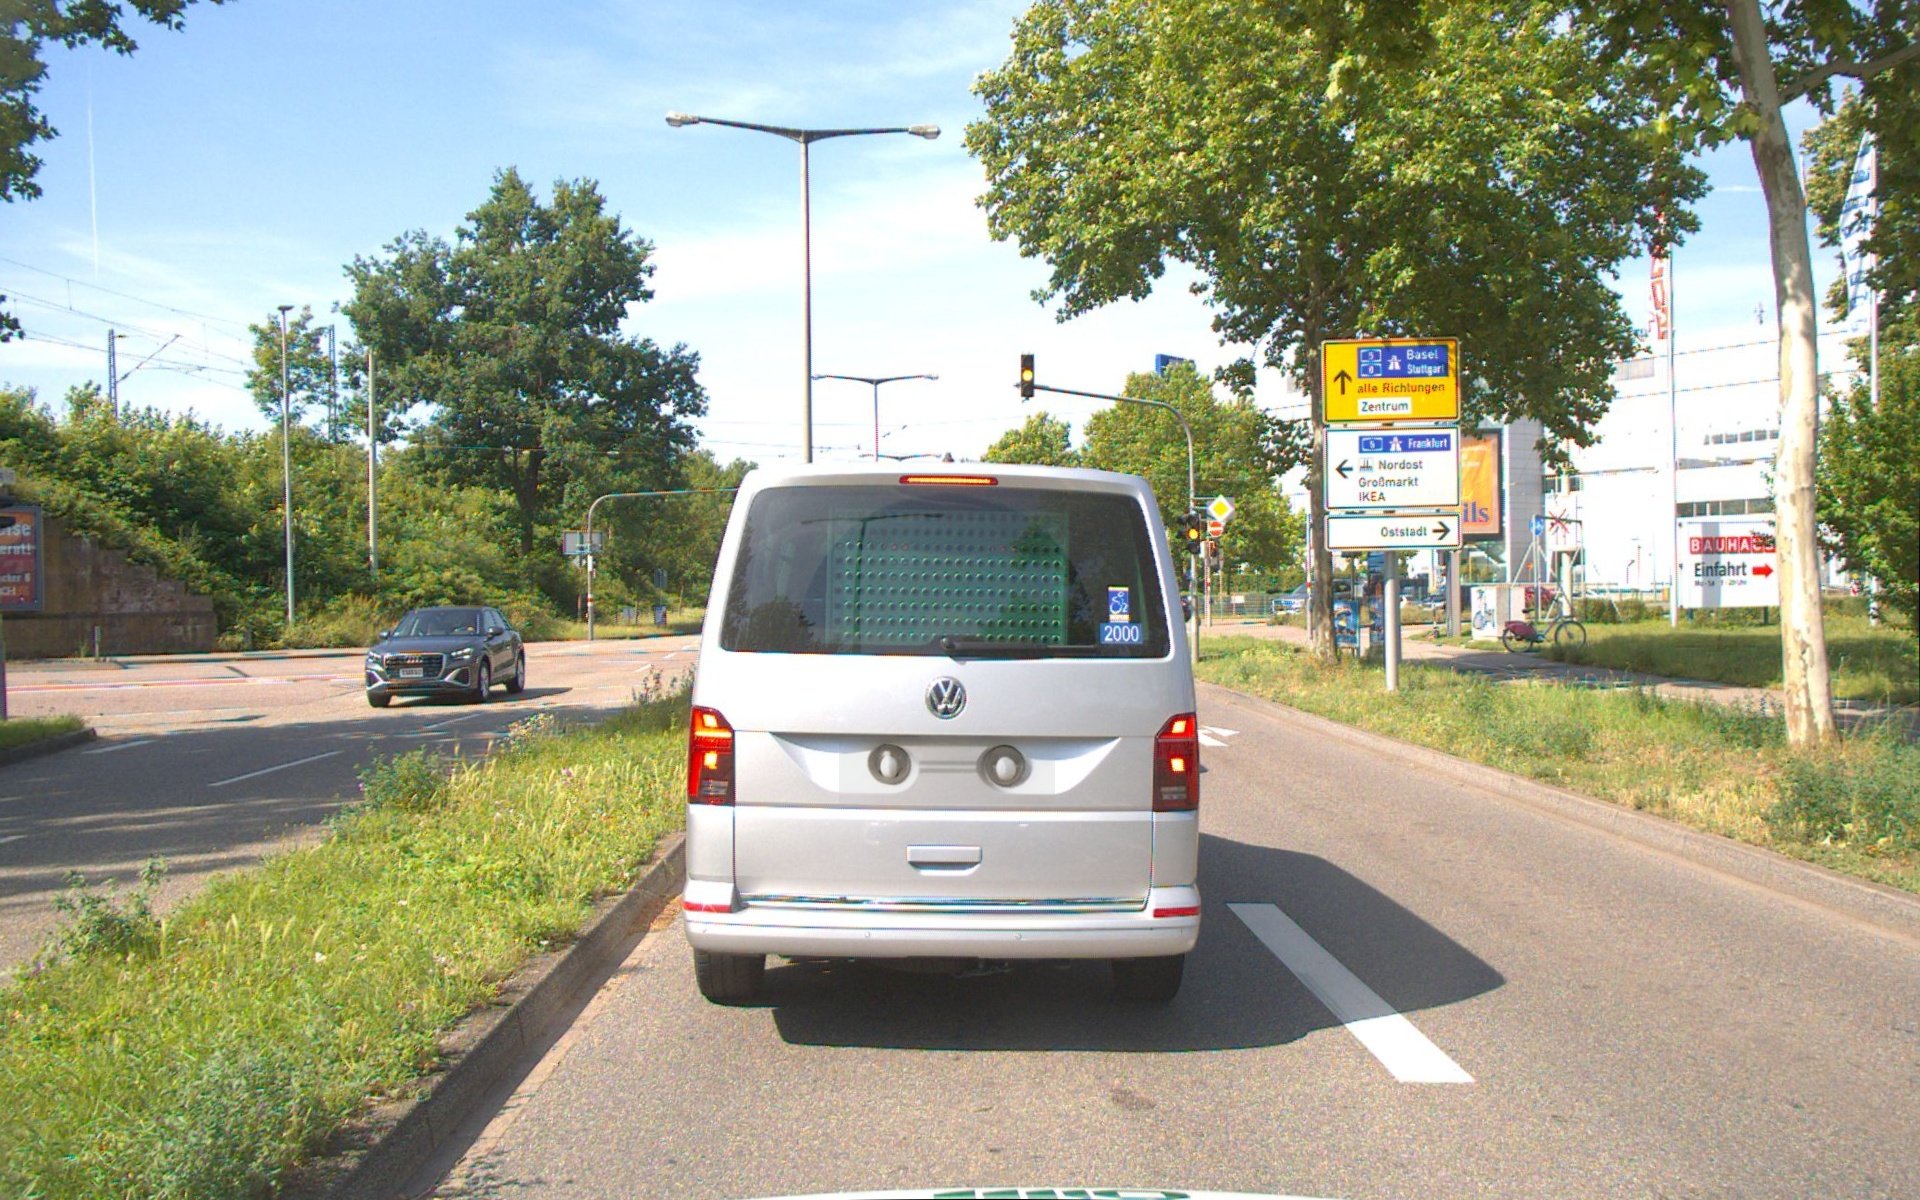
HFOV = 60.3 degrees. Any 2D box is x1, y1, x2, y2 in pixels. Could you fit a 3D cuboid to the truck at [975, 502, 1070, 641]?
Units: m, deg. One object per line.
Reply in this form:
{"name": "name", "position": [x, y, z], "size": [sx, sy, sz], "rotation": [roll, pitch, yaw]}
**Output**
{"name": "truck", "position": [1.871, -0.857, 52.943], "size": [2.501, 4.026, 8.972], "rotation": [-1, 0, -1]}

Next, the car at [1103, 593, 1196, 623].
{"name": "car", "position": [9.911, 0.415, 86.756], "size": [4.525, 1.469, 1.778], "rotation": [-1, 0, 30]}

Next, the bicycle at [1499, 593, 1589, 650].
{"name": "bicycle", "position": [12.508, 0.460, 35.455], "size": [1.748, 1.127, 0.504], "rotation": [-3, -1, 18]}

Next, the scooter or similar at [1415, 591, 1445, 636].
{"name": "scooter or similar", "position": [12.095, 0.339, 42.580], "size": [0.416, 1.146, 1.123], "rotation": [-1, 0, -2]}

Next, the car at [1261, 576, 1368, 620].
{"name": "car", "position": [14.815, -0.098, 69.004], "size": [4.578, 1.718, 1.890], "rotation": [-1, 0, -38]}

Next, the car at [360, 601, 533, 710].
{"name": "car", "position": [-8.249, 0.830, 26.899], "size": [1.827, 1.492, 3.934], "rotation": [-3, 1, -5]}

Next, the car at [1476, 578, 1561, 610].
{"name": "car", "position": [27.863, -0.318, 82.470], "size": [4.578, 1.469, 1.758], "rotation": [-1, 0, -38]}

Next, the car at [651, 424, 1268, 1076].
{"name": "car", "position": [-0.036, 0.455, 7.642], "size": [1.902, 2.006, 5.021], "rotation": [0, 0, -1]}
